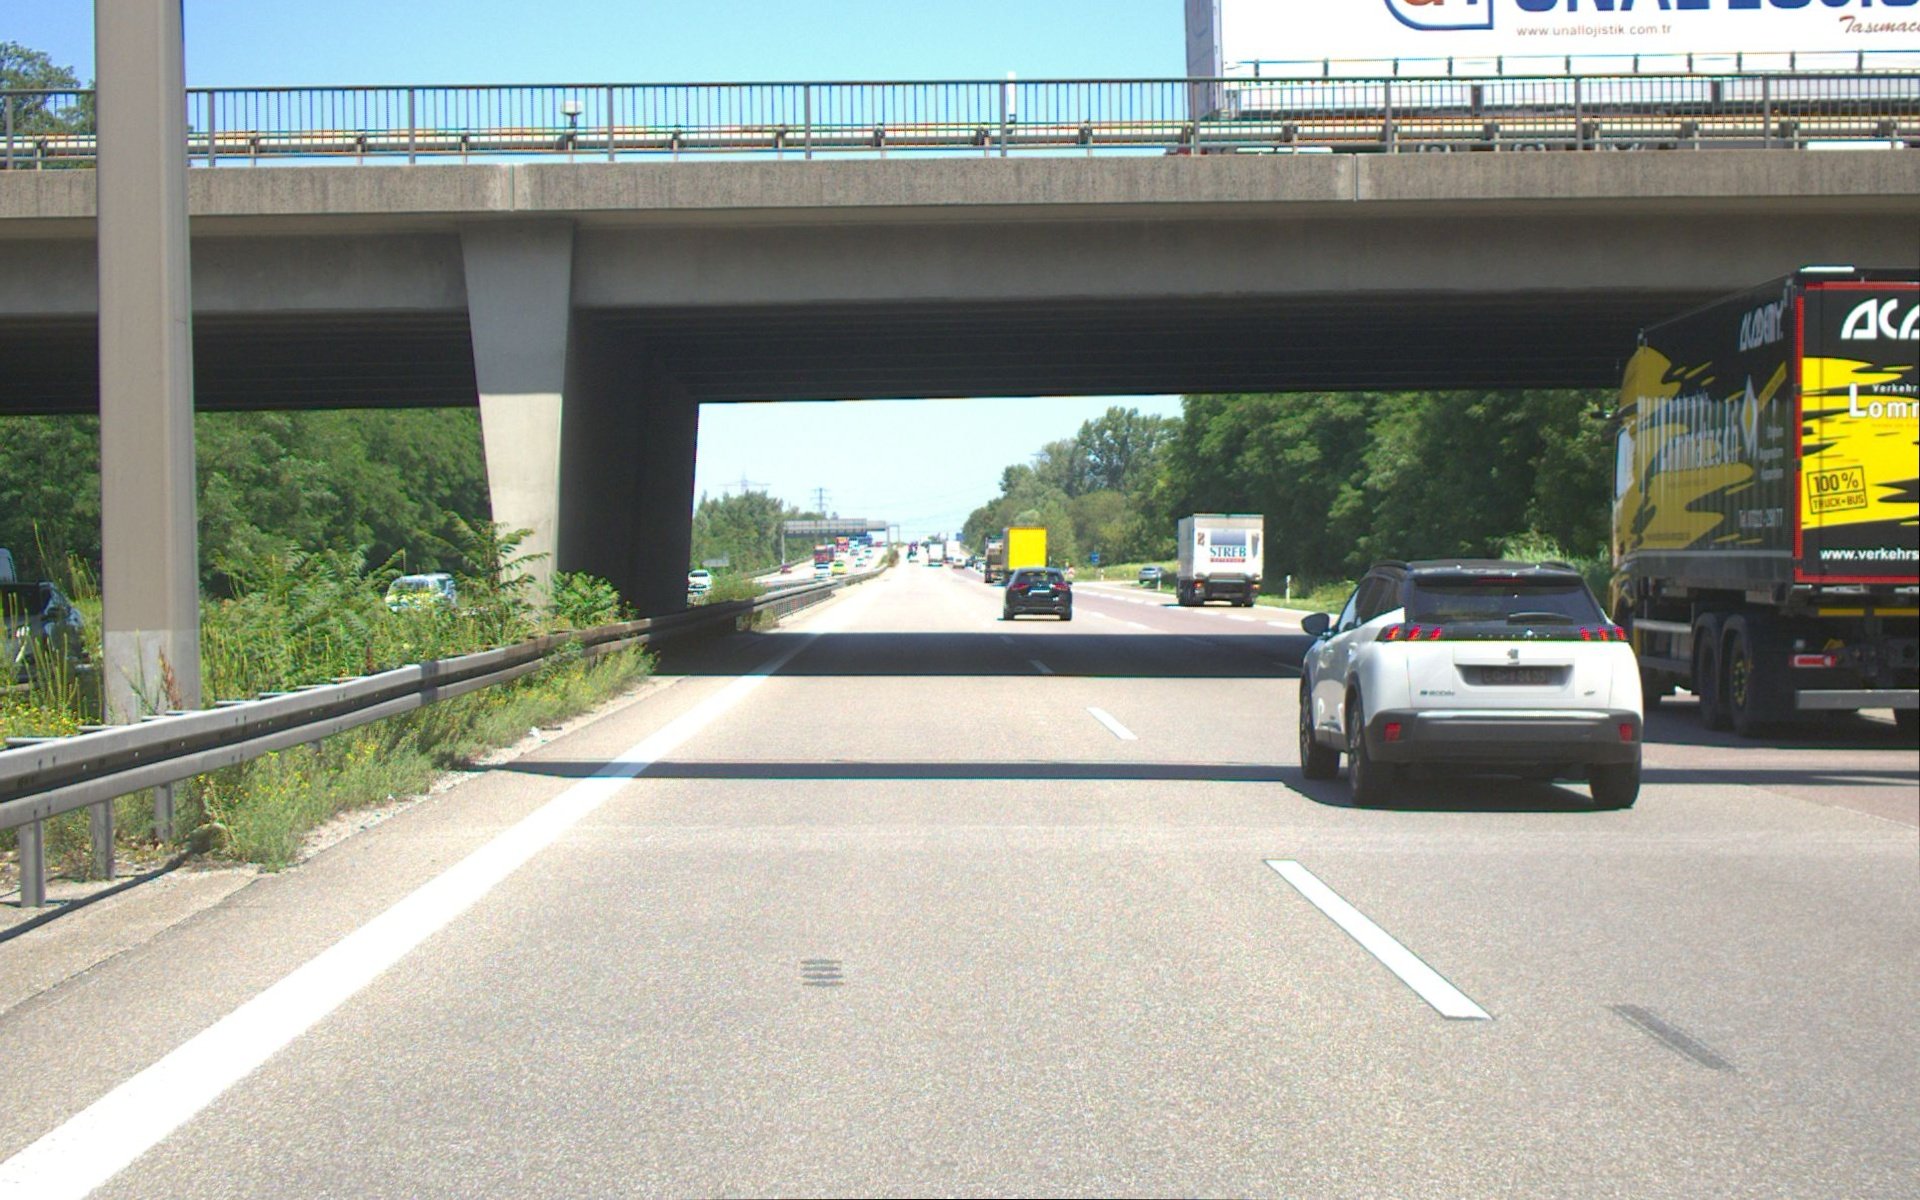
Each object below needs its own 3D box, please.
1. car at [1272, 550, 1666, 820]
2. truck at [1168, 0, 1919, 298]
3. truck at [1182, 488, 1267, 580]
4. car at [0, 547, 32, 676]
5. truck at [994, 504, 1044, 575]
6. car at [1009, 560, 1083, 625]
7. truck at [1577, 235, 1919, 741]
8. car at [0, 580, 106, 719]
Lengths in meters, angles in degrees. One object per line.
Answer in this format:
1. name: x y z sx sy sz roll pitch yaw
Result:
1. car: 3.247 0.487 22.855 1.827 1.602 4.809 0 0 -1
2. truck: 11.303 -7.131 47.584 16.458 5.546 3.175 1 0 -5
3. truck: 9.977 -2.451 130.552 3.028 3.308 10.769 1 0 4
4. car: -18.744 0.206 62.993 2.089 2.391 5.735 1 0 -2
5. truck: 4.170 -4.268 246.771 3.377 4.864 15.086 1 0 0
6. car: 2.306 -0.223 93.402 1.827 1.700 4.000 1 0 -1
7. truck: 8.258 -0.908 33.013 2.975 4.023 10.981 2 0 2
8. car: -13.294 0.644 48.051 1.690 1.809 4.714 1 0 -2
